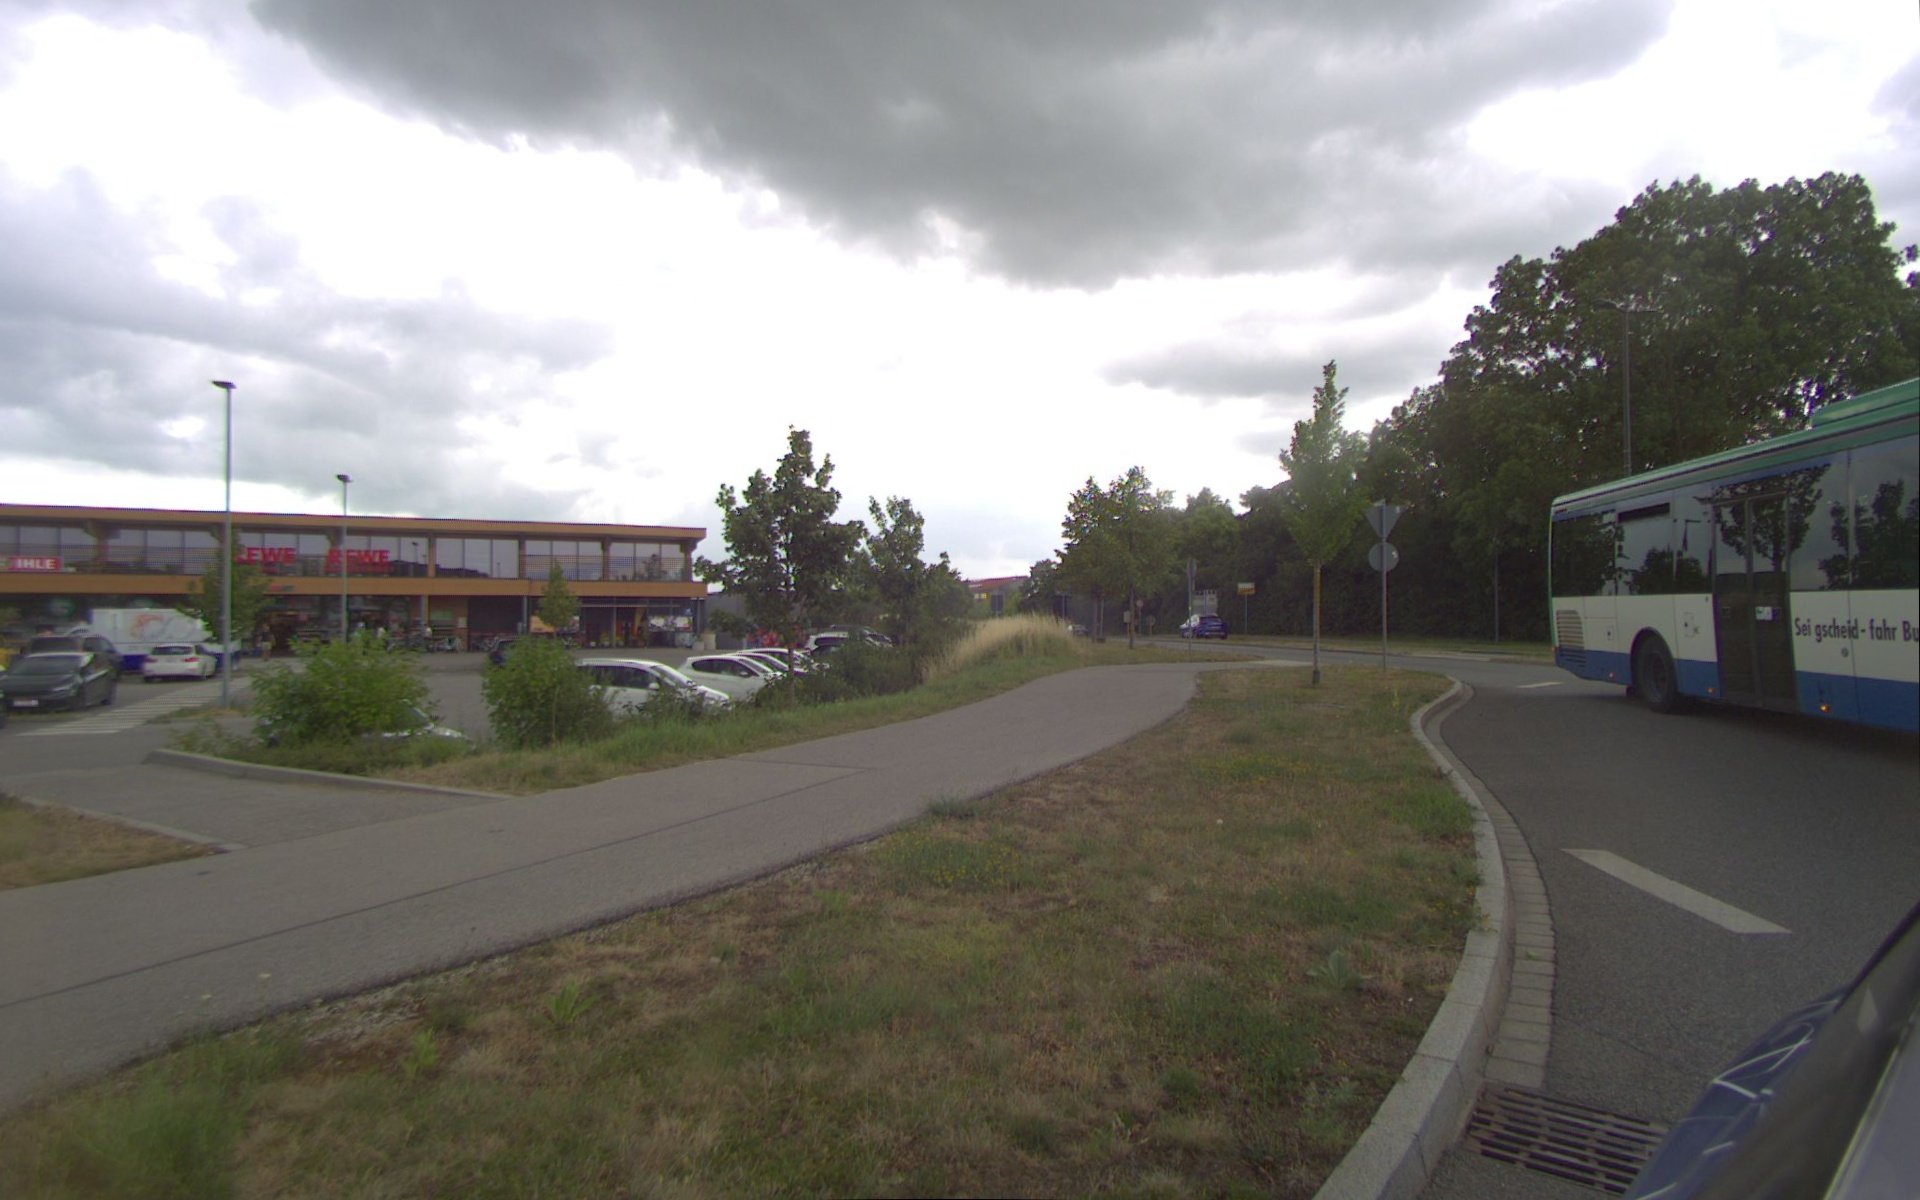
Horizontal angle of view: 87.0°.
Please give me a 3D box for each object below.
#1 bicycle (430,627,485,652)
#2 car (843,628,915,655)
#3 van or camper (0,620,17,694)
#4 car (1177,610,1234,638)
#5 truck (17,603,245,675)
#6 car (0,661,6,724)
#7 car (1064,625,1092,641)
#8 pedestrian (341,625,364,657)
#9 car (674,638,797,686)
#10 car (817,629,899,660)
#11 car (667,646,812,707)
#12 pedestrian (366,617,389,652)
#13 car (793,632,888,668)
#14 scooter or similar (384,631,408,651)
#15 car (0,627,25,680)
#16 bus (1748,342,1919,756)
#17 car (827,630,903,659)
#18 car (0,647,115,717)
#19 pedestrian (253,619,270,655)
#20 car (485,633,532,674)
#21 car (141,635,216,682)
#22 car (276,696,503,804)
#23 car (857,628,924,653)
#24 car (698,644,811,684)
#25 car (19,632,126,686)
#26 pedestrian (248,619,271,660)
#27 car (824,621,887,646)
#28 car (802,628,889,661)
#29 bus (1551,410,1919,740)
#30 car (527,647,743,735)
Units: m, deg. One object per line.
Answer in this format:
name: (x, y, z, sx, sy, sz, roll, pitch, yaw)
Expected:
bicycle: (-28.796, 2.251, 58.028, 2.810, 1.326, 0.981, 0, -1, -25)
car: (-4.614, 2.348, 57.764, 3.823, 1.483, 1.694, -1, -1, 7)
van or camper: (-29.990, 1.678, 28.620, 4.708, 2.125, 1.767, 0, -1, -7)
car: (13.750, 1.373, 56.869, 1.727, 1.449, 4.085, -1, -3, -6)
truck: (-35.144, 1.576, 43.319, 7.111, 2.843, 2.979, 0, -1, -29)
car: (-21.925, 2.108, 21.223, 1.799, 1.416, 4.004, 0, 0, -28)
car: (10.948, 3.080, 94.390, 1.794, 1.324, 4.118, 1, -1, -5)
pedestrian: (-32.497, 2.176, 54.179, 0.790, 1.678, 0.750, 0, -1, -1)
car: (-7.008, 1.921, 31.826, 3.602, 1.311, 1.718, -1, 0, -6)
car: (-5.097, 2.232, 50.856, 3.823, 1.483, 1.694, -1, -1, 7)
car: (-6.394, 2.198, 29.694, 3.920, 1.527, 2.002, -1, 0, -5)
pedestrian: (-32.852, 1.937, 57.112, 0.790, 1.923, 0.915, -4, -4, 39)
car: (-5.184, 2.159, 44.184, 3.823, 1.483, 1.694, -1, -1, 7)
scooter or similar: (-32.235, 2.336, 57.820, 0.790, 1.141, 0.988, -4, -4, 39)
car: (-35.323, 1.955, 36.061, 1.736, 1.878, 4.006, -1, -1, -24)
bus: (8.695, -0.389, 6.964, 2.486, 3.299, 6.527, 0, 1, 12)
car: (-5.048, 2.375, 54.003, 3.823, 1.483, 1.694, -1, -1, 7)
car: (-24.134, 2.122, 27.017, 1.697, 1.573, 4.004, 0, -1, -29)
pedestrian: (-38.836, 2.064, 56.248, 0.568, 1.974, 0.525, -1, -1, 2)
car: (-19.273, 2.232, 43.142, 1.680, 1.588, 3.675, 0, -1, -26)
car: (-29.614, 2.172, 38.453, 1.697, 1.549, 4.004, 0, 0, -29)
car: (-9.343, 2.361, 16.526, 3.698, 1.390, 1.565, -2, -1, 29)
car: (-4.216, 2.458, 61.691, 3.823, 1.483, 1.694, -1, -1, 7)
car: (-7.174, 2.236, 35.466, 3.613, 1.311, 1.413, -1, -1, 7)
car: (-32.236, 2.085, 36.877, 1.814, 1.747, 4.126, -2, 0, -25)
pedestrian: (-35.260, 1.975, 50.961, 0.913, 2.039, 0.806, 0, -1, -30)
car: (-6.676, 2.123, 64.697, 3.918, 1.462, 1.886, -1, -1, -8)
car: (-5.377, 2.097, 47.756, 3.823, 1.483, 1.694, -1, -1, 7)
bus: (9.904, -0.305, 12.831, 2.485, 3.299, 5.443, 0, 1, 11)
car: (-7.388, 2.047, 23.293, 4.363, 1.694, 1.799, 2, 0, 3)
